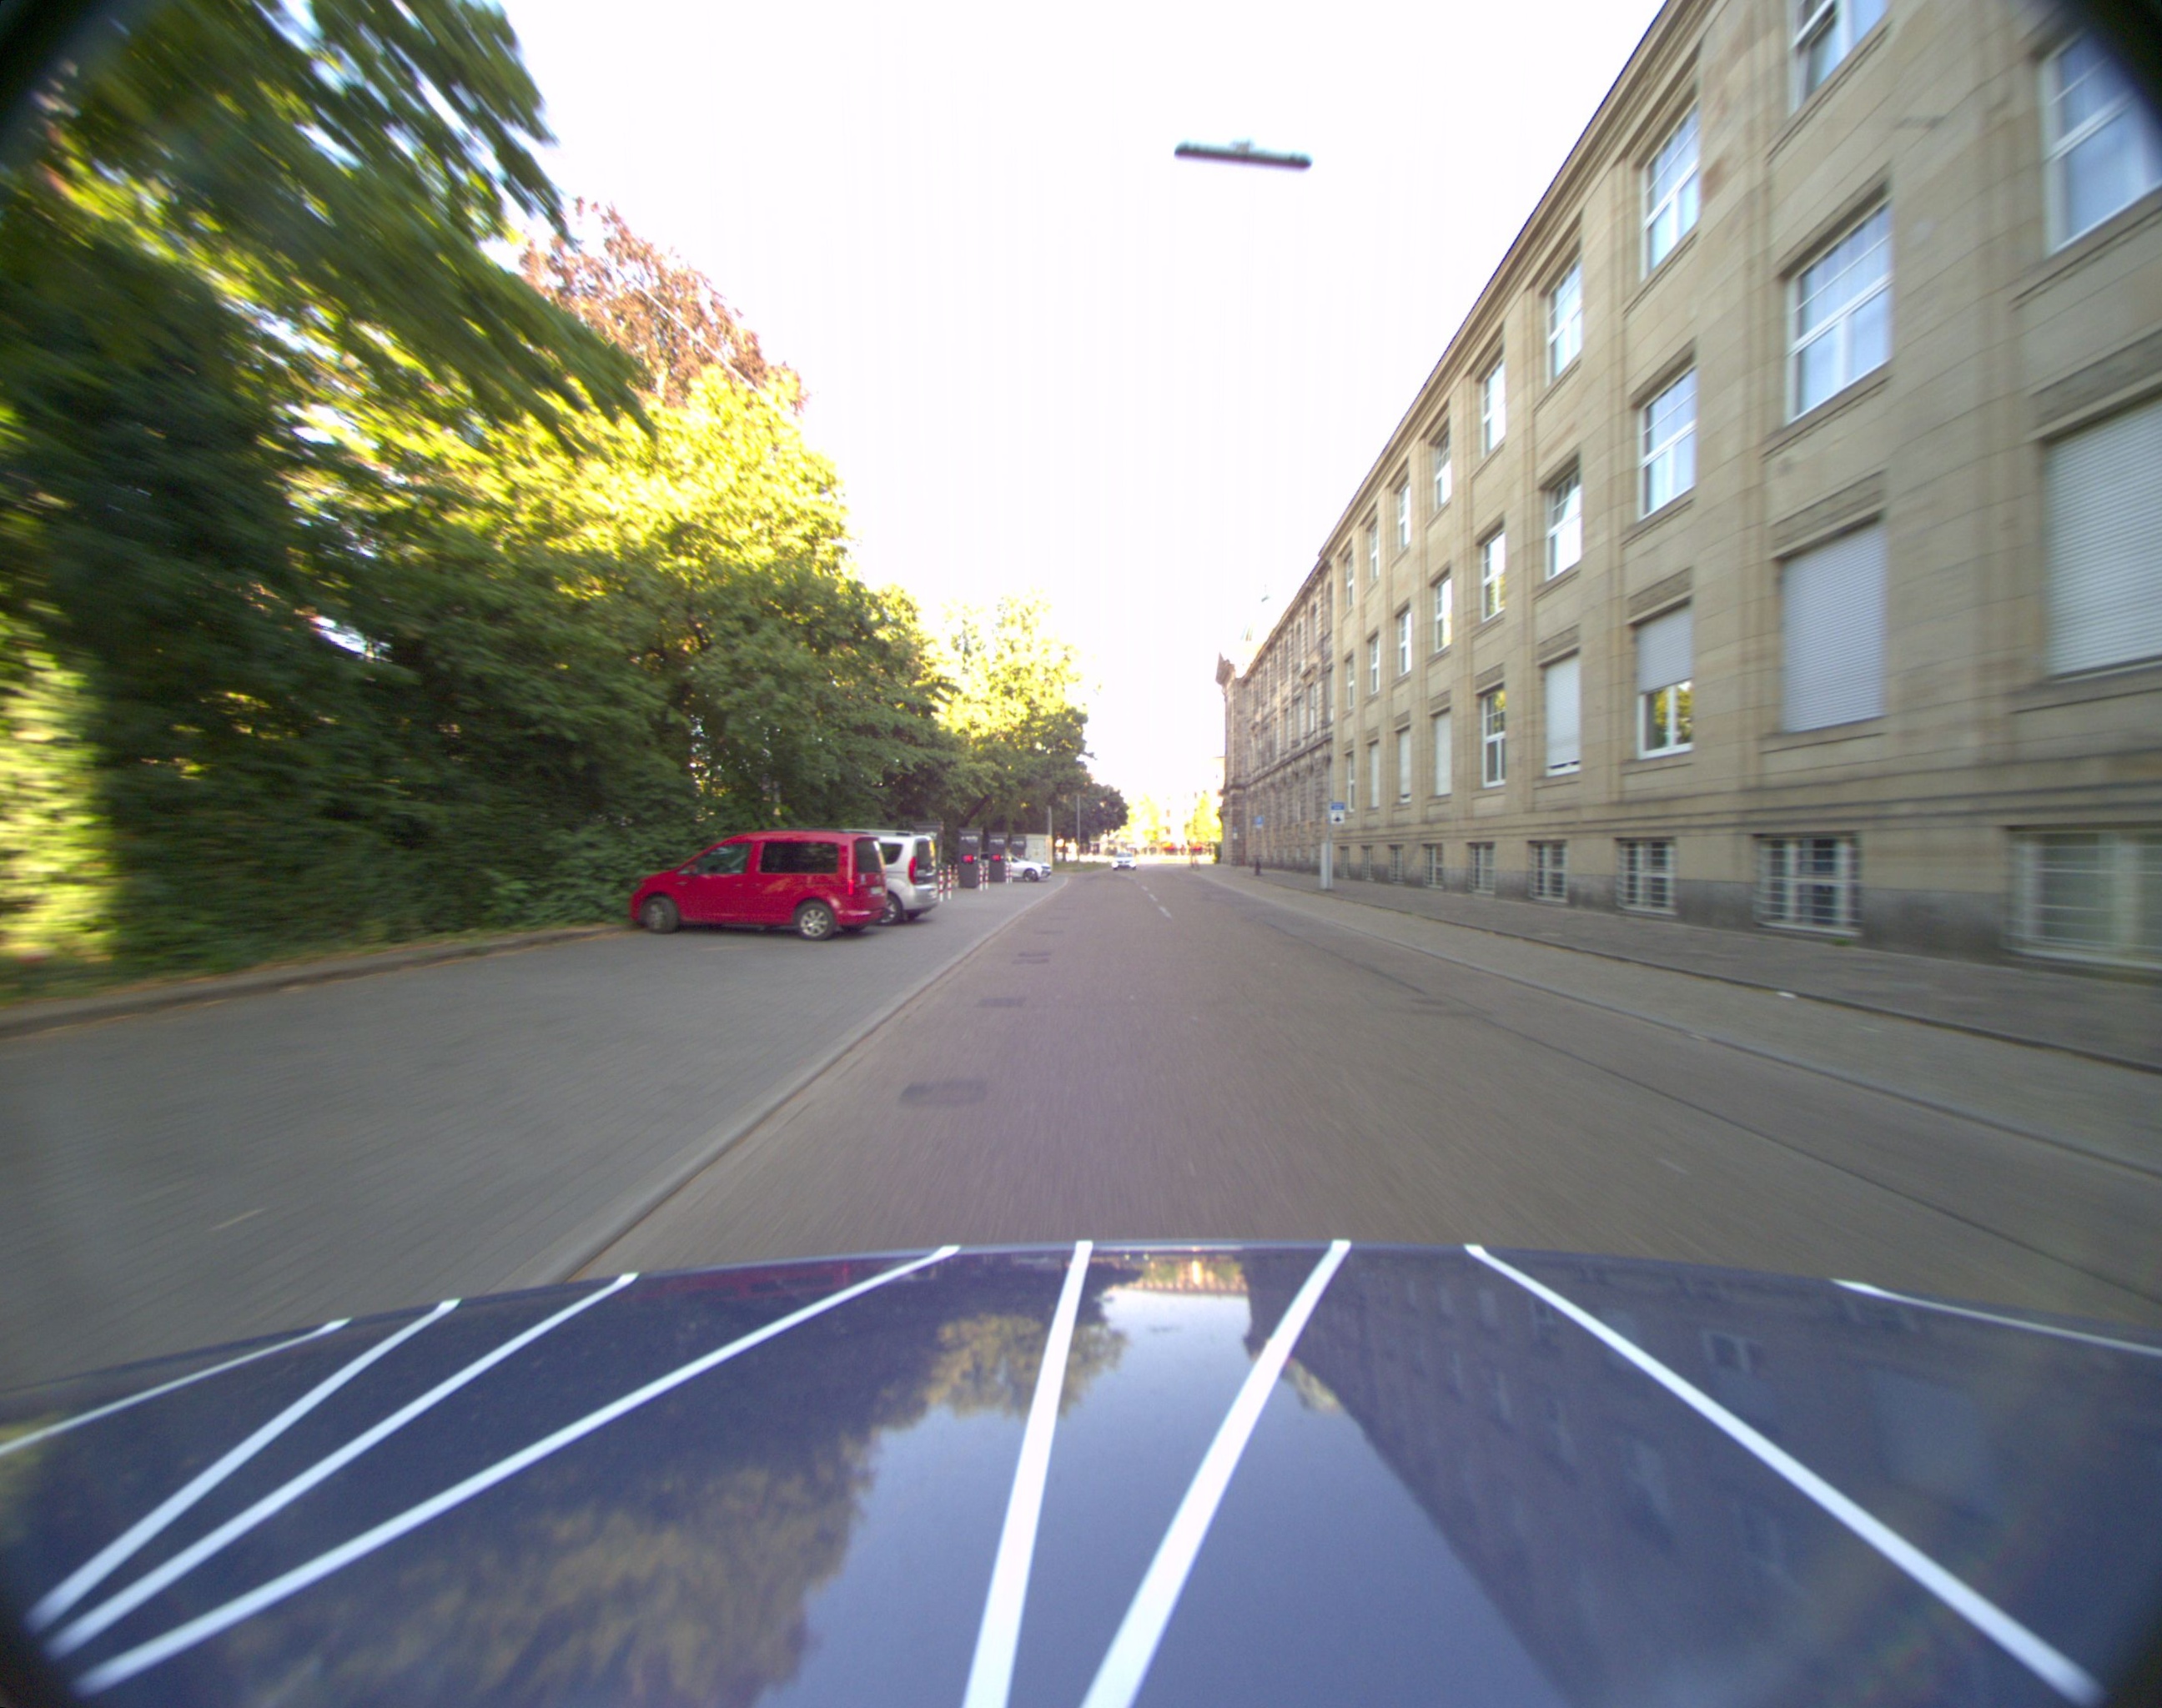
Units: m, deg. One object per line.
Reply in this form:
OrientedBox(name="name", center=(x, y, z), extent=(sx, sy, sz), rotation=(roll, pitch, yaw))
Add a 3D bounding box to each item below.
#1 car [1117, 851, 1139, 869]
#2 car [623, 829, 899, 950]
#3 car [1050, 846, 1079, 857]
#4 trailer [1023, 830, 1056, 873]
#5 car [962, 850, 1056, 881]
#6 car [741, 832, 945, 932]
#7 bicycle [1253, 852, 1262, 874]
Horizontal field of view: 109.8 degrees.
OrientedBox(name="car", center=(3.912, 0.483, 63.245), extent=(1.687, 1.445, 4.104), rotation=(0, 1, 6))
OrientedBox(name="car", center=(-5.456, 0.546, 13.280), extent=(3.979, 1.852, 1.920), rotation=(1, 1, 6))
OrientedBox(name="car", center=(-2.512, -0.386, 117.281), extent=(4.270, 1.635, 1.808), rotation=(0, 1, 38))
OrientedBox(name="trailer", center=(-2.577, -0.184, 48.237), extent=(1.600, 2.625, 3.703), rotation=(0, 1, 4))
OrientedBox(name="car", center=(-3.539, 0.547, 37.851), extent=(4.441, 1.458, 1.711), rotation=(0, 1, 4))
OrientedBox(name="car", center=(-4.858, 0.540, 15.798), extent=(3.609, 1.873, 1.784), rotation=(1, 1, 5))
OrientedBox(name="bicycle", center=(9.825, 0.470, 42.291), extent=(0.457, 1.202, 1.879), rotation=(0, 1, 12))
